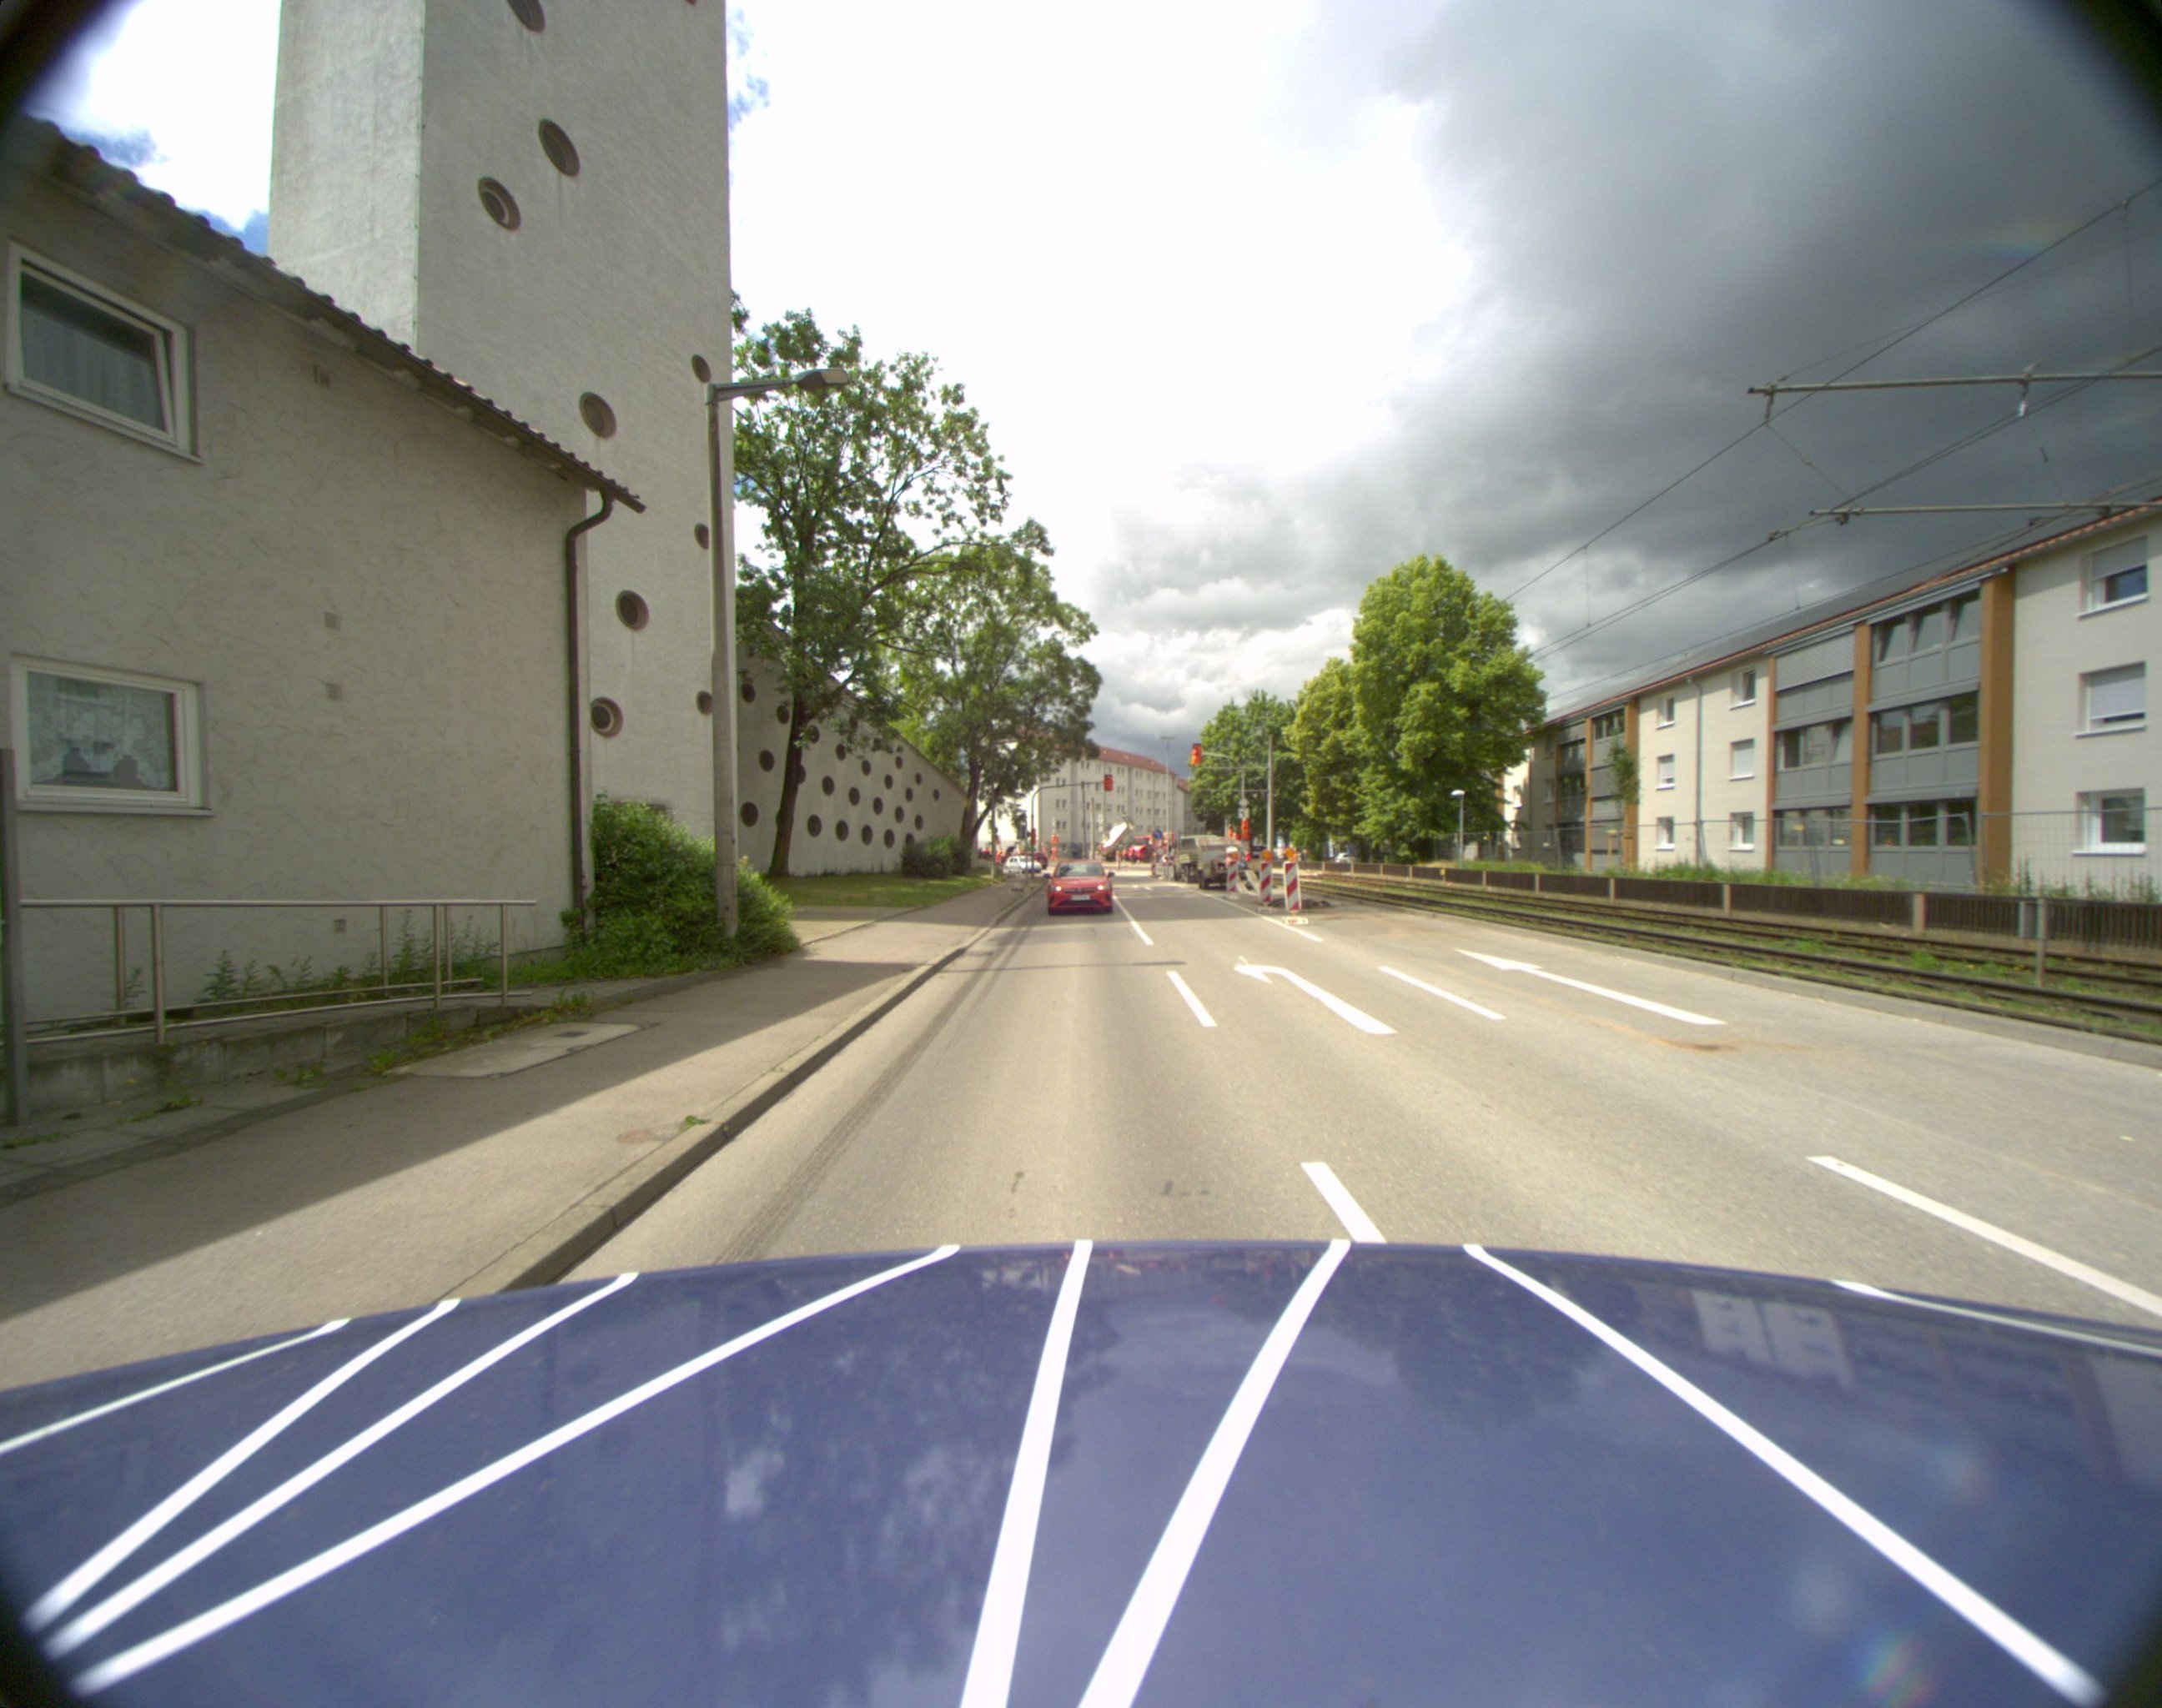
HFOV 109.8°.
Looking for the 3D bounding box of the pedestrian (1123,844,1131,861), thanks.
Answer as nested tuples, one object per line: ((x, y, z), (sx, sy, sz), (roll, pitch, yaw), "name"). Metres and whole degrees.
((4.901, -0.183, 80.888), (0.611, 1.778, 0.583), (-2, 0, 32), "pedestrian")

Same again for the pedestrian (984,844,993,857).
((-9.233, -0.343, 75.893), (0.615, 1.209, 0.552), (0, 1, 39), "pedestrian")

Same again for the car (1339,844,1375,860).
((26.957, -0.197, 74.273), (3.197, 1.446, 1.566), (0, 0, 15), "car")

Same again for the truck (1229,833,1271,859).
((17.311, -0.816, 77.709), (2.412, 2.553, 5.594), (0, 1, 33), "truck")

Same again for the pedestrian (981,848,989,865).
((-9.706, 0.219, 76.643), (0.557, 1.672, 0.471), (0, 3, 31), "pedestrian")

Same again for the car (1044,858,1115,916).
((0.040, 0.880, 22.044), (1.769, 1.425, 3.839), (-3, 0, 3), "car")

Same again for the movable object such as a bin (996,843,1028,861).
((-7.624, -0.224, 84.006), (2.959, 2.002, 2.004), (0, 1, 38), "movable object such as a bin")

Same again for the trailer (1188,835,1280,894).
((6.397, 0.369, 32.694), (2.669, 2.201, 6.246), (-2, 1, 0), "trailer")

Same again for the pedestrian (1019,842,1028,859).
((-6.265, -0.395, 82.745), (0.767, 1.828, 0.785), (0, 1, 26), "pedestrian")

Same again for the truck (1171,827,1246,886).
((6.389, 0.068, 38.991), (2.669, 2.709, 6.394), (-2, 1, 0), "truck")

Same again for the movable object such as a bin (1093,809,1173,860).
((5.881, -2.071, 84.798), (9.052, 5.453, 2.814), (0, 0, -34), "movable object such as a bin")

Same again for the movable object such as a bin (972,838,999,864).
((-9.639, -0.341, 76.697), (2.355, 2.579, 1.323), (0, 2, 39), "movable object such as a bin")

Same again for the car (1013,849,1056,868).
((-4.220, 0.410, 68.039), (1.852, 1.608, 4.231), (-3, 0, -35), "car")

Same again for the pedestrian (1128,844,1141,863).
((5.227, -0.051, 74.640), (0.969, 1.822, 0.798), (1, 3, 43), "pedestrian")

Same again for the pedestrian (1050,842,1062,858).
((-2.870, -0.473, 87.342), (0.872, 1.813, 1.098), (0, 1, 28), "pedestrian")

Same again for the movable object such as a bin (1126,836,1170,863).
((7.037, -0.465, 78.862), (2.110, 2.653, 5.598), (0, 2, 34), "movable object such as a bin")

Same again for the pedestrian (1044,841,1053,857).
((-3.803, -0.586, 88.154), (0.881, 1.897, 0.666), (-1, 2, -18), "pedestrian")
